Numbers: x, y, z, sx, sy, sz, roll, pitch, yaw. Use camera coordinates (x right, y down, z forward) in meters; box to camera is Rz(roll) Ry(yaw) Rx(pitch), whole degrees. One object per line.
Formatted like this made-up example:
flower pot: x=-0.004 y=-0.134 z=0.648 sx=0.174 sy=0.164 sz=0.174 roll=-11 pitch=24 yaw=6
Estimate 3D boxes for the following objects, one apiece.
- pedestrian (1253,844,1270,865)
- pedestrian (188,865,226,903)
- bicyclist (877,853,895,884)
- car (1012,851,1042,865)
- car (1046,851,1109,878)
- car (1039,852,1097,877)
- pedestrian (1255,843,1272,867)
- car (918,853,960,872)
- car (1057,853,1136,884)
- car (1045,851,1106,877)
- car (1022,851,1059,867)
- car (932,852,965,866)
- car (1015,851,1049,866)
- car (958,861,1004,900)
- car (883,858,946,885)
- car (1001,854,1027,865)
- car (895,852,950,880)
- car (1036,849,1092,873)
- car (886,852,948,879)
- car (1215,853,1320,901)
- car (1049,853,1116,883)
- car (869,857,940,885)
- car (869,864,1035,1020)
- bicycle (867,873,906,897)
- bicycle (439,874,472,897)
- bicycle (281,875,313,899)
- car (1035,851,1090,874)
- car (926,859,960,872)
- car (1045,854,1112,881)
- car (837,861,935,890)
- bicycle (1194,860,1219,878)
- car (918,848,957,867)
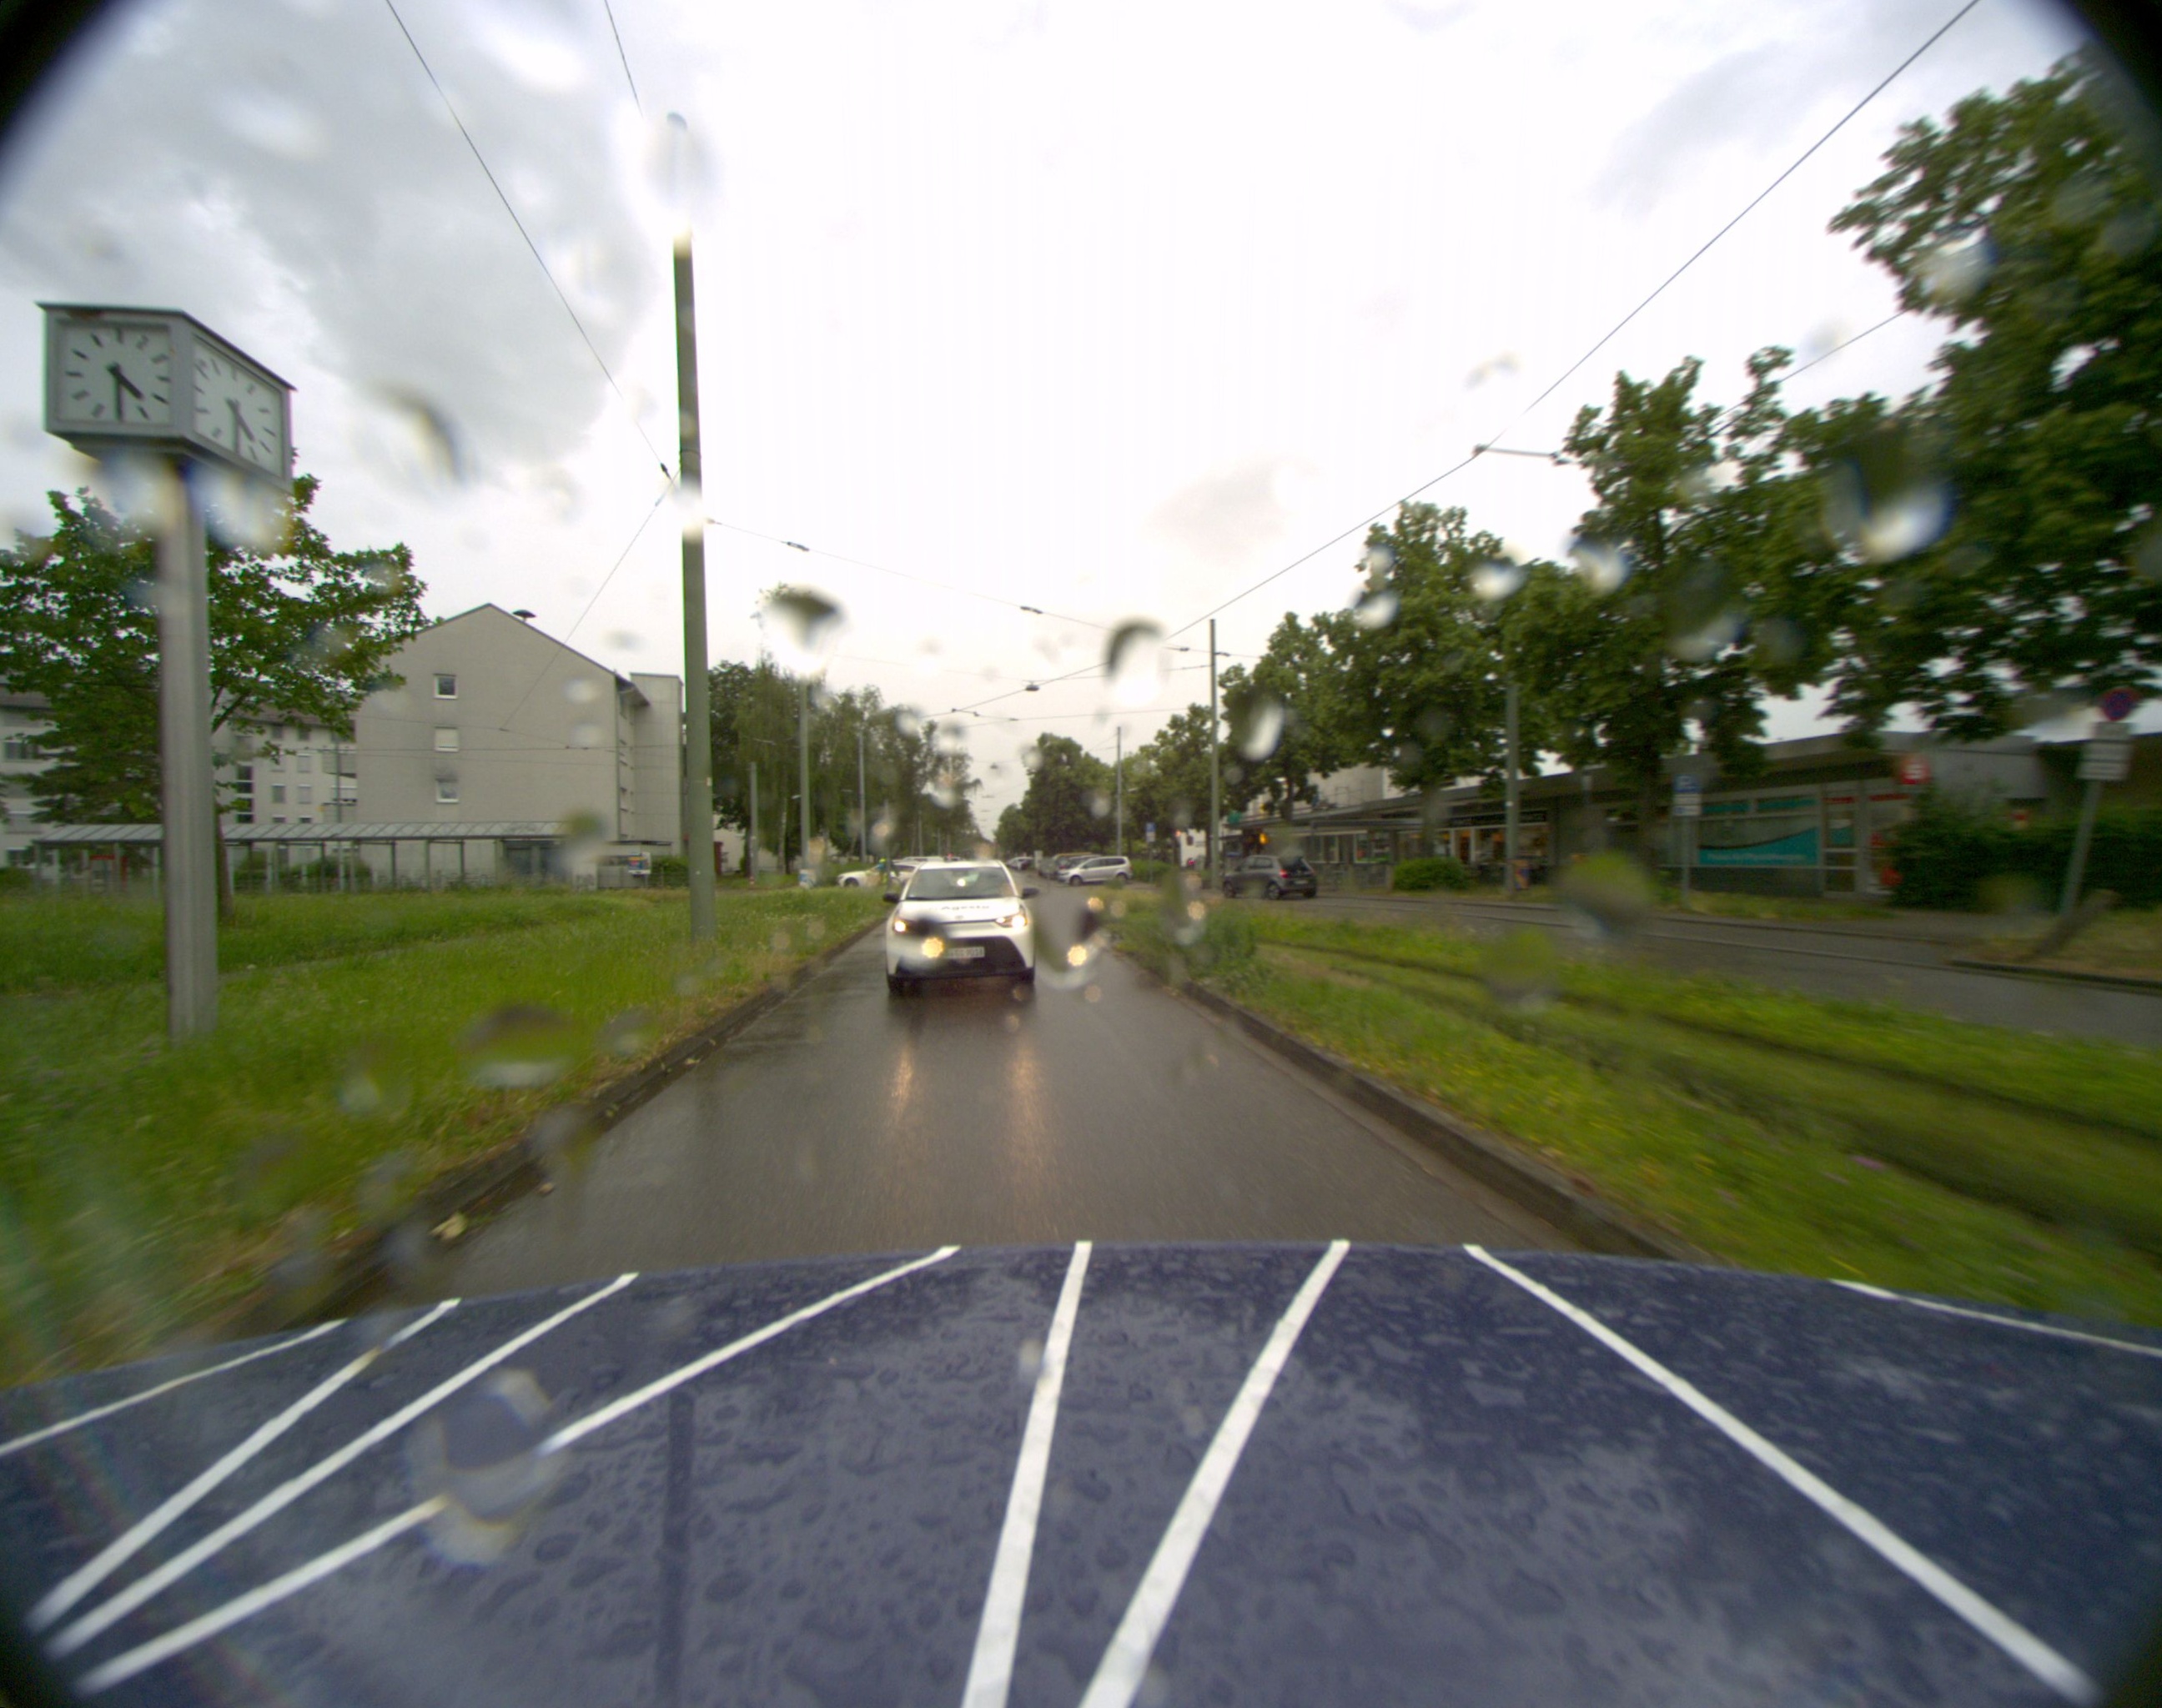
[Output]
pedestrian: x=13.613 y=0.061 z=57.425 sx=1.079 sy=1.575 sz=0.948 roll=-1 pitch=1 yaw=3
pedestrian: x=-37.176 y=1.250 z=32.321 sx=0.636 sy=1.563 sz=0.789 roll=-3 pitch=1 yaw=-9
bicyclist: x=-9.767 y=0.733 z=38.001 sx=0.699 sy=1.507 sz=0.723 roll=-2 pitch=0 yaw=-27
car: x=-8.381 y=0.645 z=117.661 sx=4.549 sy=1.932 sz=1.897 roll=-2 pitch=0 yaw=-9
car: x=-0.255 y=0.708 z=52.300 sx=4.091 sy=1.699 sz=1.897 roll=-2 pitch=0 yaw=-9
car: x=-0.990 y=0.752 z=57.538 sx=4.091 sy=1.699 sz=1.897 roll=-2 pitch=0 yaw=-9
pedestrian: x=13.491 y=0.070 z=56.180 sx=1.079 sy=1.704 sz=0.948 roll=-1 pitch=1 yaw=3
car: x=-16.139 y=0.918 z=86.382 sx=4.549 sy=1.932 sz=1.897 roll=-2 pitch=0 yaw=-9
car: x=0.898 y=0.839 z=45.080 sx=4.338 sy=1.664 sz=1.998 roll=-2 pitch=0 yaw=-9
car: x=-0.441 y=0.728 z=54.818 sx=4.091 sy=1.699 sz=1.897 roll=-2 pitch=0 yaw=-9
car: x=-5.264 y=0.653 z=97.990 sx=4.549 sy=1.932 sz=1.897 roll=-2 pitch=0 yaw=-9
car: x=-19.520 y=0.735 z=112.038 sx=4.549 sy=2.013 sz=1.897 roll=-2 pitch=0 yaw=-9
car: x=-6.974 y=0.672 z=107.208 sx=4.549 sy=1.932 sz=1.897 roll=-2 pitch=0 yaw=-9
car: x=-4.654 y=1.190 z=35.786 sx=1.963 sy=1.544 sz=3.996 roll=-2 pitch=2 yaw=-5
car: x=-11.308 y=1.164 z=51.764 sx=3.999 sy=1.576 sz=1.722 roll=-3 pitch=1 yaw=-7
car: x=-12.203 y=1.016 z=137.678 sx=4.549 sy=1.932 sz=1.897 roll=-2 pitch=0 yaw=-9
car: x=-13.390 y=1.007 z=64.301 sx=4.446 sy=2.050 sz=1.721 roll=-3 pitch=1 yaw=-11
car: x=-1.506 y=0.611 z=66.449 sx=4.549 sy=1.932 sz=1.897 roll=-2 pitch=0 yaw=-9
car: x=-12.664 y=0.872 z=58.975 sx=4.444 sy=1.835 sz=1.722 roll=-3 pitch=1 yaw=-7
car: x=6.401 y=0.764 z=26.430 sx=1.554 sy=1.495 sz=3.616 roll=-3 pitch=1 yaw=-25
car: x=0.063 y=0.858 z=47.863 sx=3.947 sy=1.664 sz=1.792 roll=-2 pitch=0 yaw=-9
car: x=-10.728 y=1.028 z=46.462 sx=3.999 sy=1.477 sz=1.722 roll=-3 pitch=1 yaw=-7
car: x=-1.606 y=1.004 z=10.044 sx=1.720 sy=1.613 sz=3.714 roll=-2 pitch=-2 yaw=-7
bicycle: x=-9.734 y=1.526 z=37.990 sx=1.756 sy=1.123 sz=0.727 roll=-1 pitch=-1 yaw=-26
bicycle: x=-26.923 y=1.347 z=32.719 sx=0.377 sy=0.950 sz=1.237 roll=-3 pitch=1 yaw=-5
bicycle: x=-33.328 y=1.398 z=32.313 sx=0.418 sy=0.942 sz=1.305 roll=-3 pitch=1 yaw=-23
car: x=-1.565 y=0.701 z=63.818 sx=4.305 sy=1.799 sz=1.897 roll=-2 pitch=0 yaw=-9
car: x=-19.012 y=1.551 z=105.015 sx=4.549 sy=1.574 sz=1.897 roll=-2 pitch=0 yaw=-9
car: x=-0.175 y=0.889 z=50.031 sx=4.091 sy=1.562 sz=1.998 roll=-2 pitch=0 yaw=-9
car: x=-10.331 y=1.125 z=40.527 sx=4.841 sy=1.449 sz=1.999 roll=1 pitch=0 yaw=-7
bicycle: x=7.318 y=0.865 z=44.372 sx=0.594 sy=1.066 sz=1.747 roll=0 pitch=0 yaw=-25
car: x=-17.173 y=0.450 z=90.750 sx=4.446 sy=2.050 sz=1.721 roll=-3 pitch=1 yaw=-11
